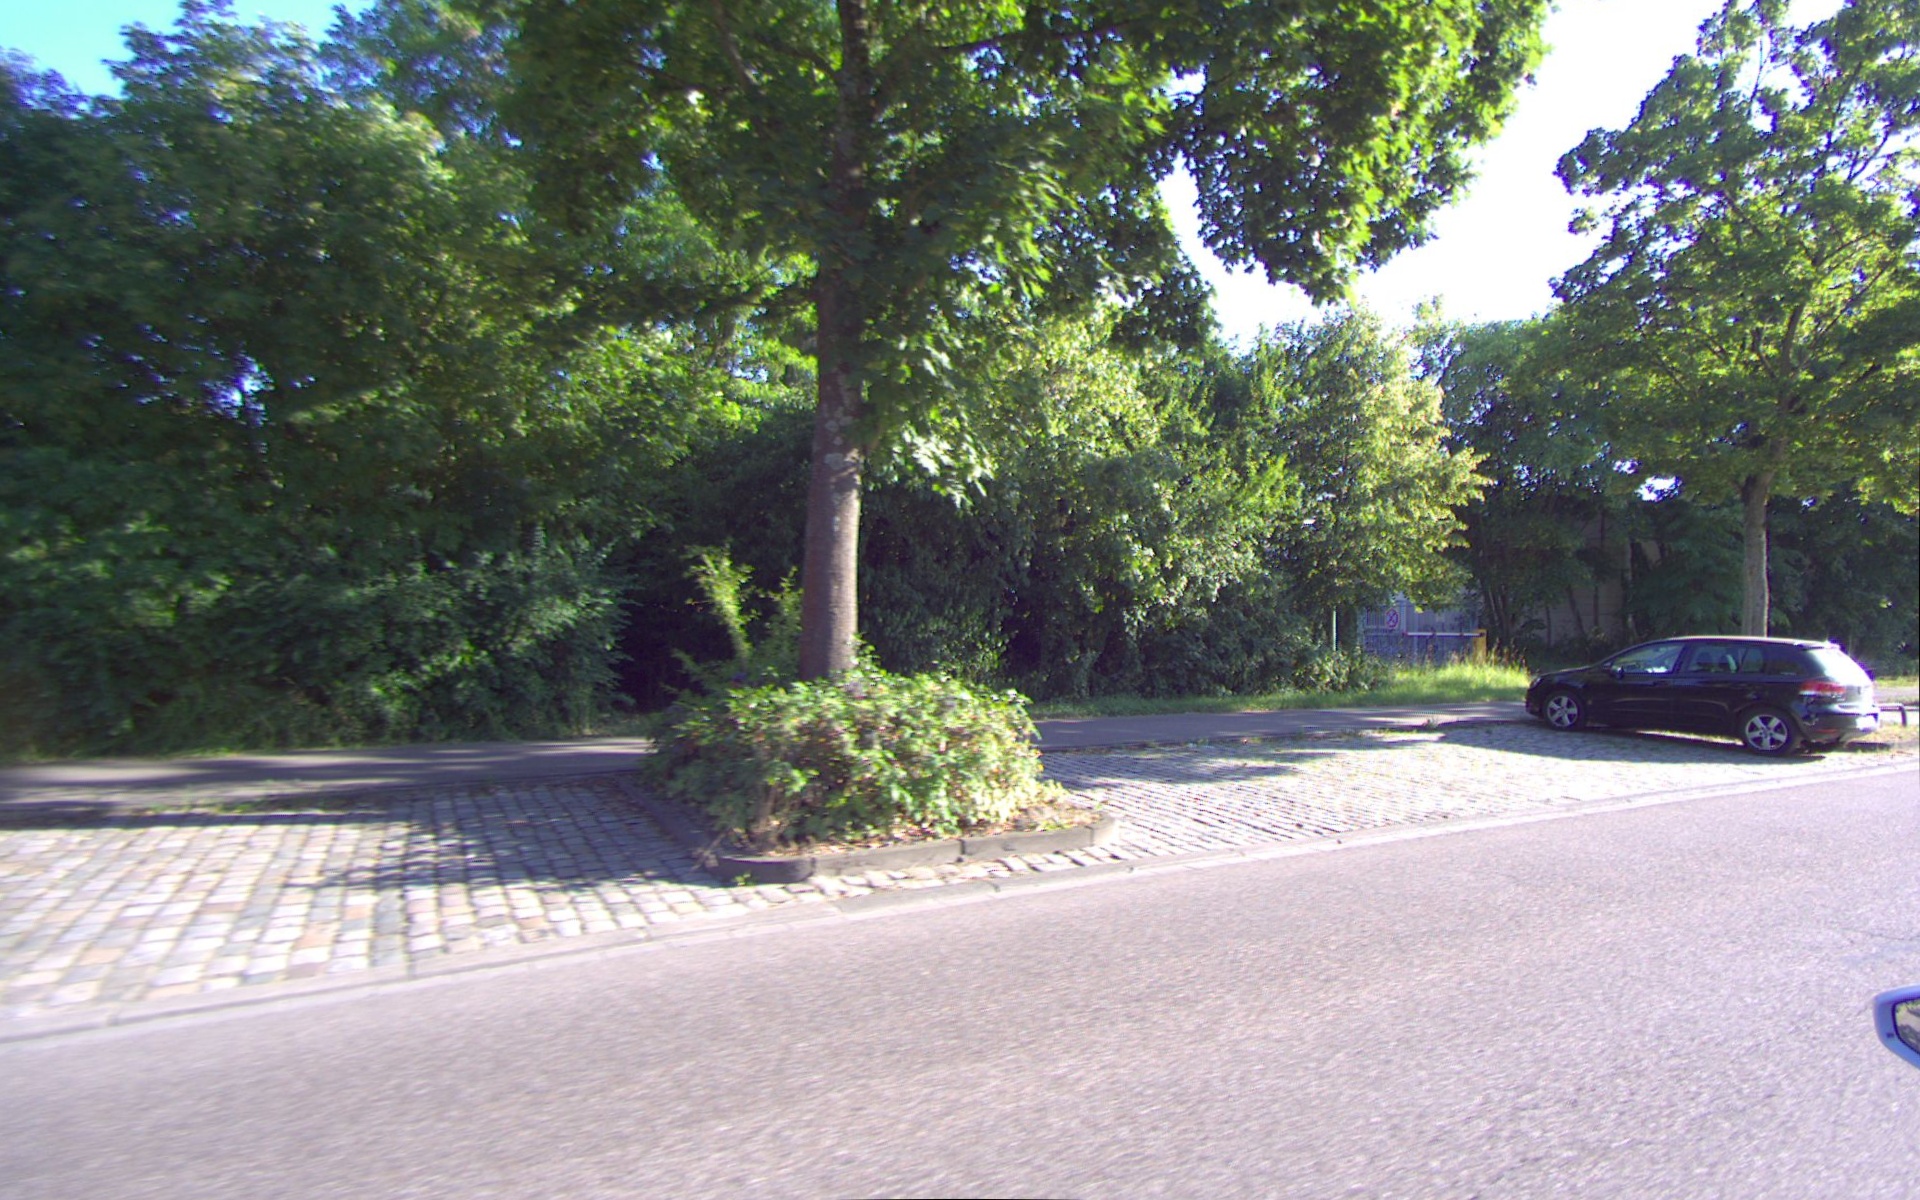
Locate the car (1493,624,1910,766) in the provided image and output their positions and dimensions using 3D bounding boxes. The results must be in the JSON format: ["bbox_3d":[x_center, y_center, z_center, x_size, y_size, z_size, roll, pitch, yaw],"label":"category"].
[{"bbox_3d":[10.264,1.192,14.293,1.976,1.499,4.338,1,1,-30],"label":"car"}]
